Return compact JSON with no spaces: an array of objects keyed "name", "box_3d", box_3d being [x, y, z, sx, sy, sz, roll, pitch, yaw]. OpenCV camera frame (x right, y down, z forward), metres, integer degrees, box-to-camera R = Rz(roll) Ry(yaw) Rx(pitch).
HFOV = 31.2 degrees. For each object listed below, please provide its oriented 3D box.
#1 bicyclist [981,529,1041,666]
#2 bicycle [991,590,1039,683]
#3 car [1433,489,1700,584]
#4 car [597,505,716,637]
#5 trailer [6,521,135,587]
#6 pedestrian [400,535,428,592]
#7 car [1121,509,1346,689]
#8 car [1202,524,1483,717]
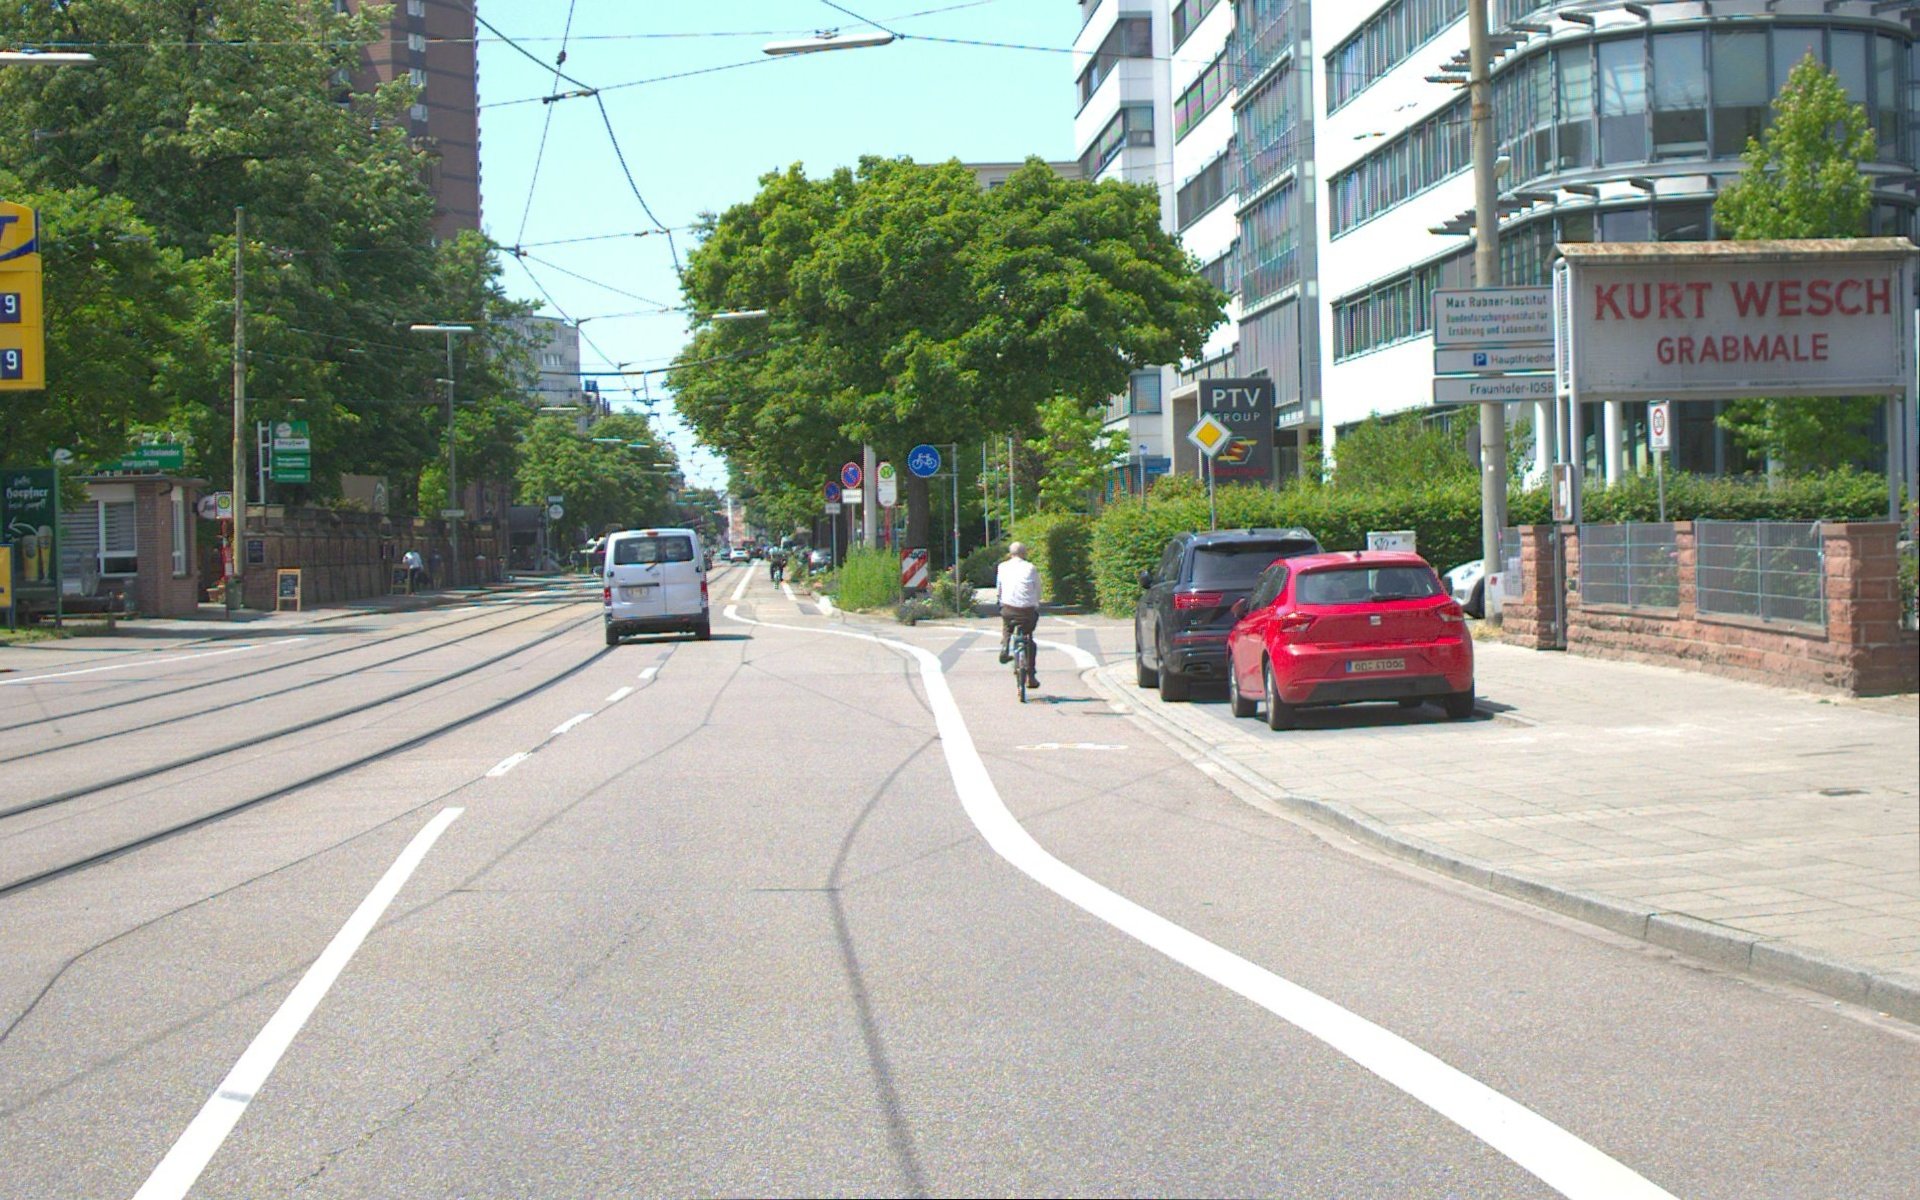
[{"name":"bicyclist","box_3d":[0.530,-0.034,35.984,0.591,1.392,0.841,-1,1,0]},{"name":"bicycle","box_3d":[0.569,0.371,35.998,0.465,0.884,2.048,-1,2,0]},{"name":"car","box_3d":[9.403,-0.992,53.425,3.799,1.270,1.556,-3,2,-2]},{"name":"car","box_3d":[-5.010,-0.518,57.088,1.752,2.006,4.001,-3,2,-3]},{"name":"trailer","box_3d":[-21.091,-1.091,81.584,2.727,1.521,1.330,0,0,-2]},{"name":"pedestrian","box_3d":[-19.661,-1.297,123.844,0.863,2.007,0.646,-3,0,-6]},{"name":"car","box_3d":[2.784,-0.071,36.041,1.863,1.681,5.001,-2,2,0]},{"name":"car","box_3d":[3.233,0.118,29.795,1.712,1.447,4.073,-3,2,-3]}]
